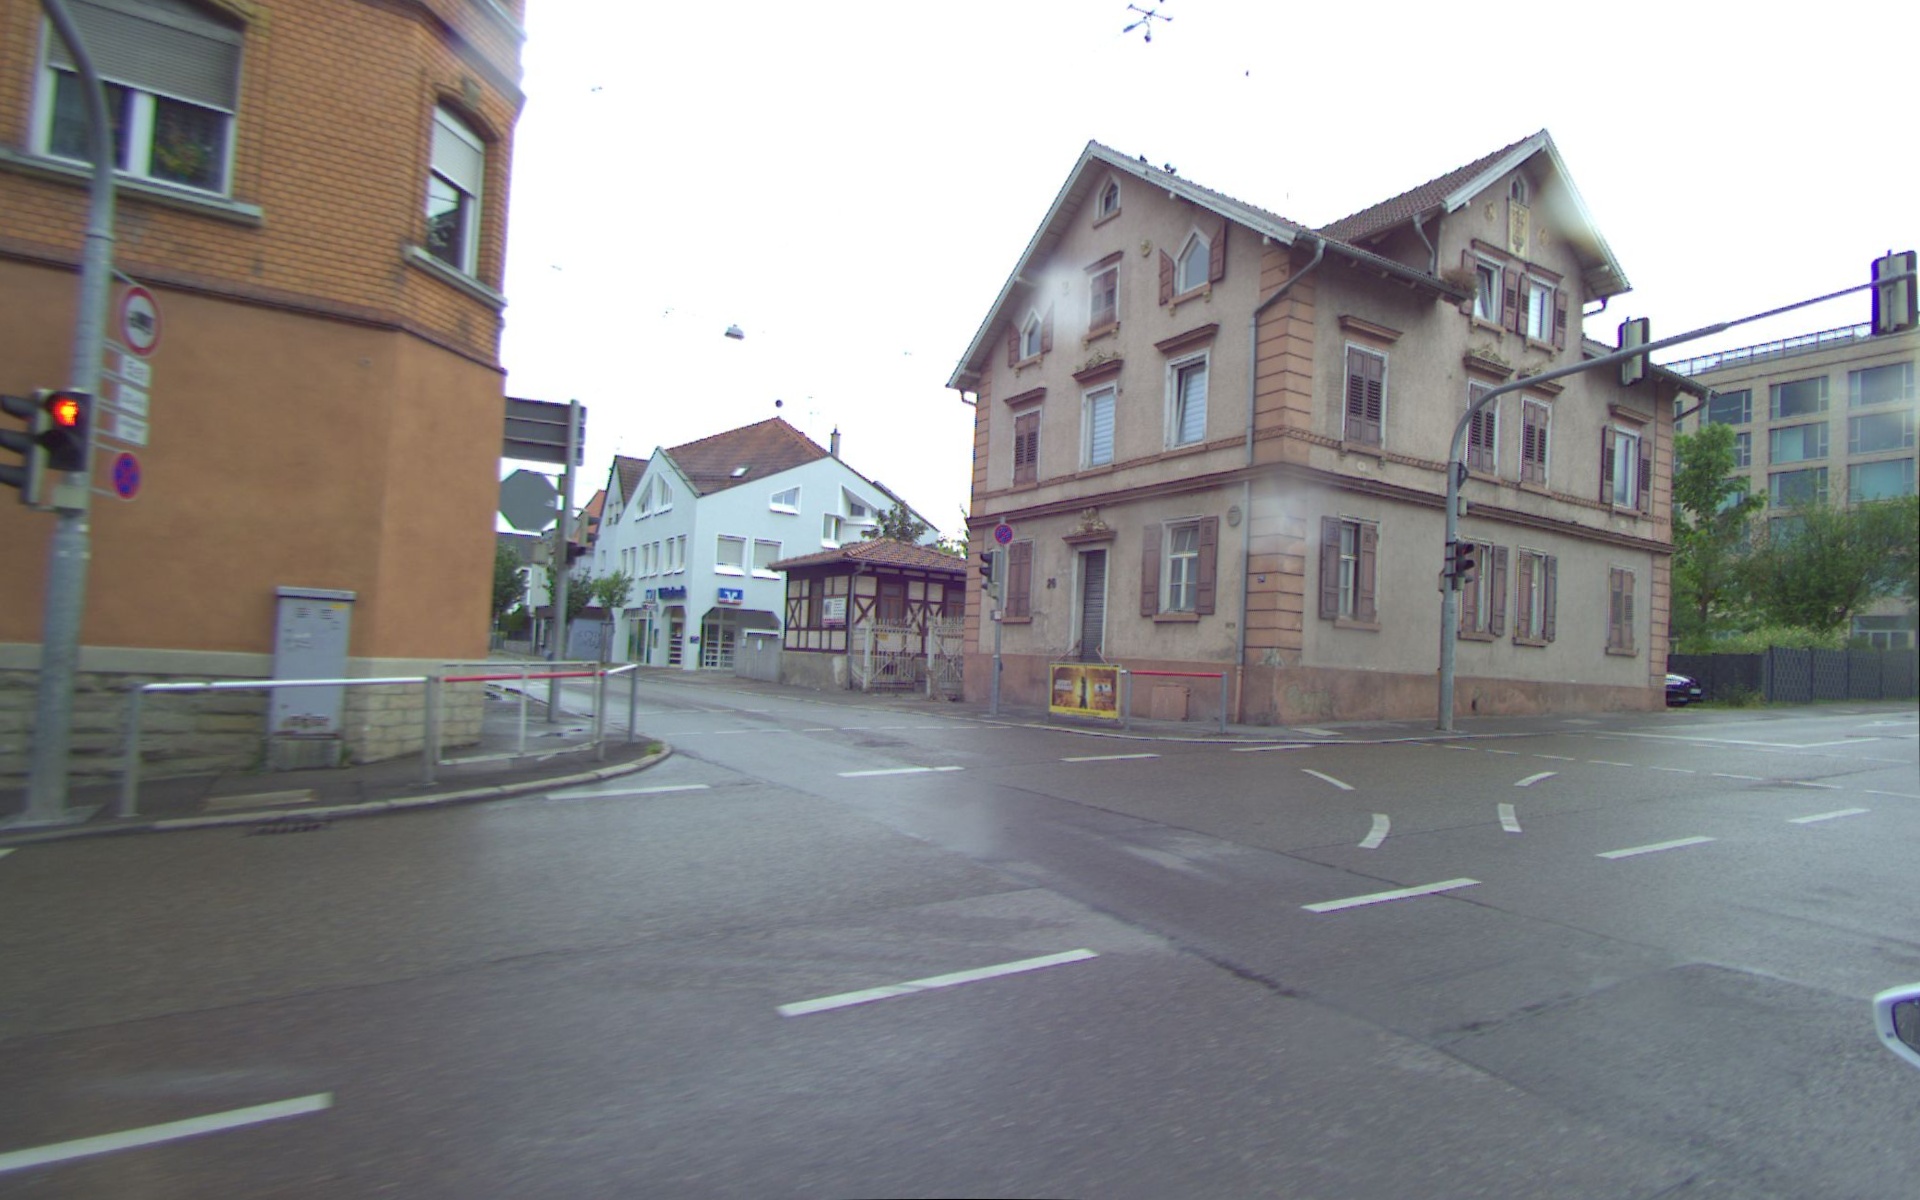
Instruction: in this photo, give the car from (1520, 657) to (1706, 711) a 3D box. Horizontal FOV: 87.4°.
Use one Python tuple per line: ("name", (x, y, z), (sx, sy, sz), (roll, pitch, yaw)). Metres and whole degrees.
("car", (17.705, 2.237, 27.397), (1.591, 1.178, 3.962), (3, -2, -34))
